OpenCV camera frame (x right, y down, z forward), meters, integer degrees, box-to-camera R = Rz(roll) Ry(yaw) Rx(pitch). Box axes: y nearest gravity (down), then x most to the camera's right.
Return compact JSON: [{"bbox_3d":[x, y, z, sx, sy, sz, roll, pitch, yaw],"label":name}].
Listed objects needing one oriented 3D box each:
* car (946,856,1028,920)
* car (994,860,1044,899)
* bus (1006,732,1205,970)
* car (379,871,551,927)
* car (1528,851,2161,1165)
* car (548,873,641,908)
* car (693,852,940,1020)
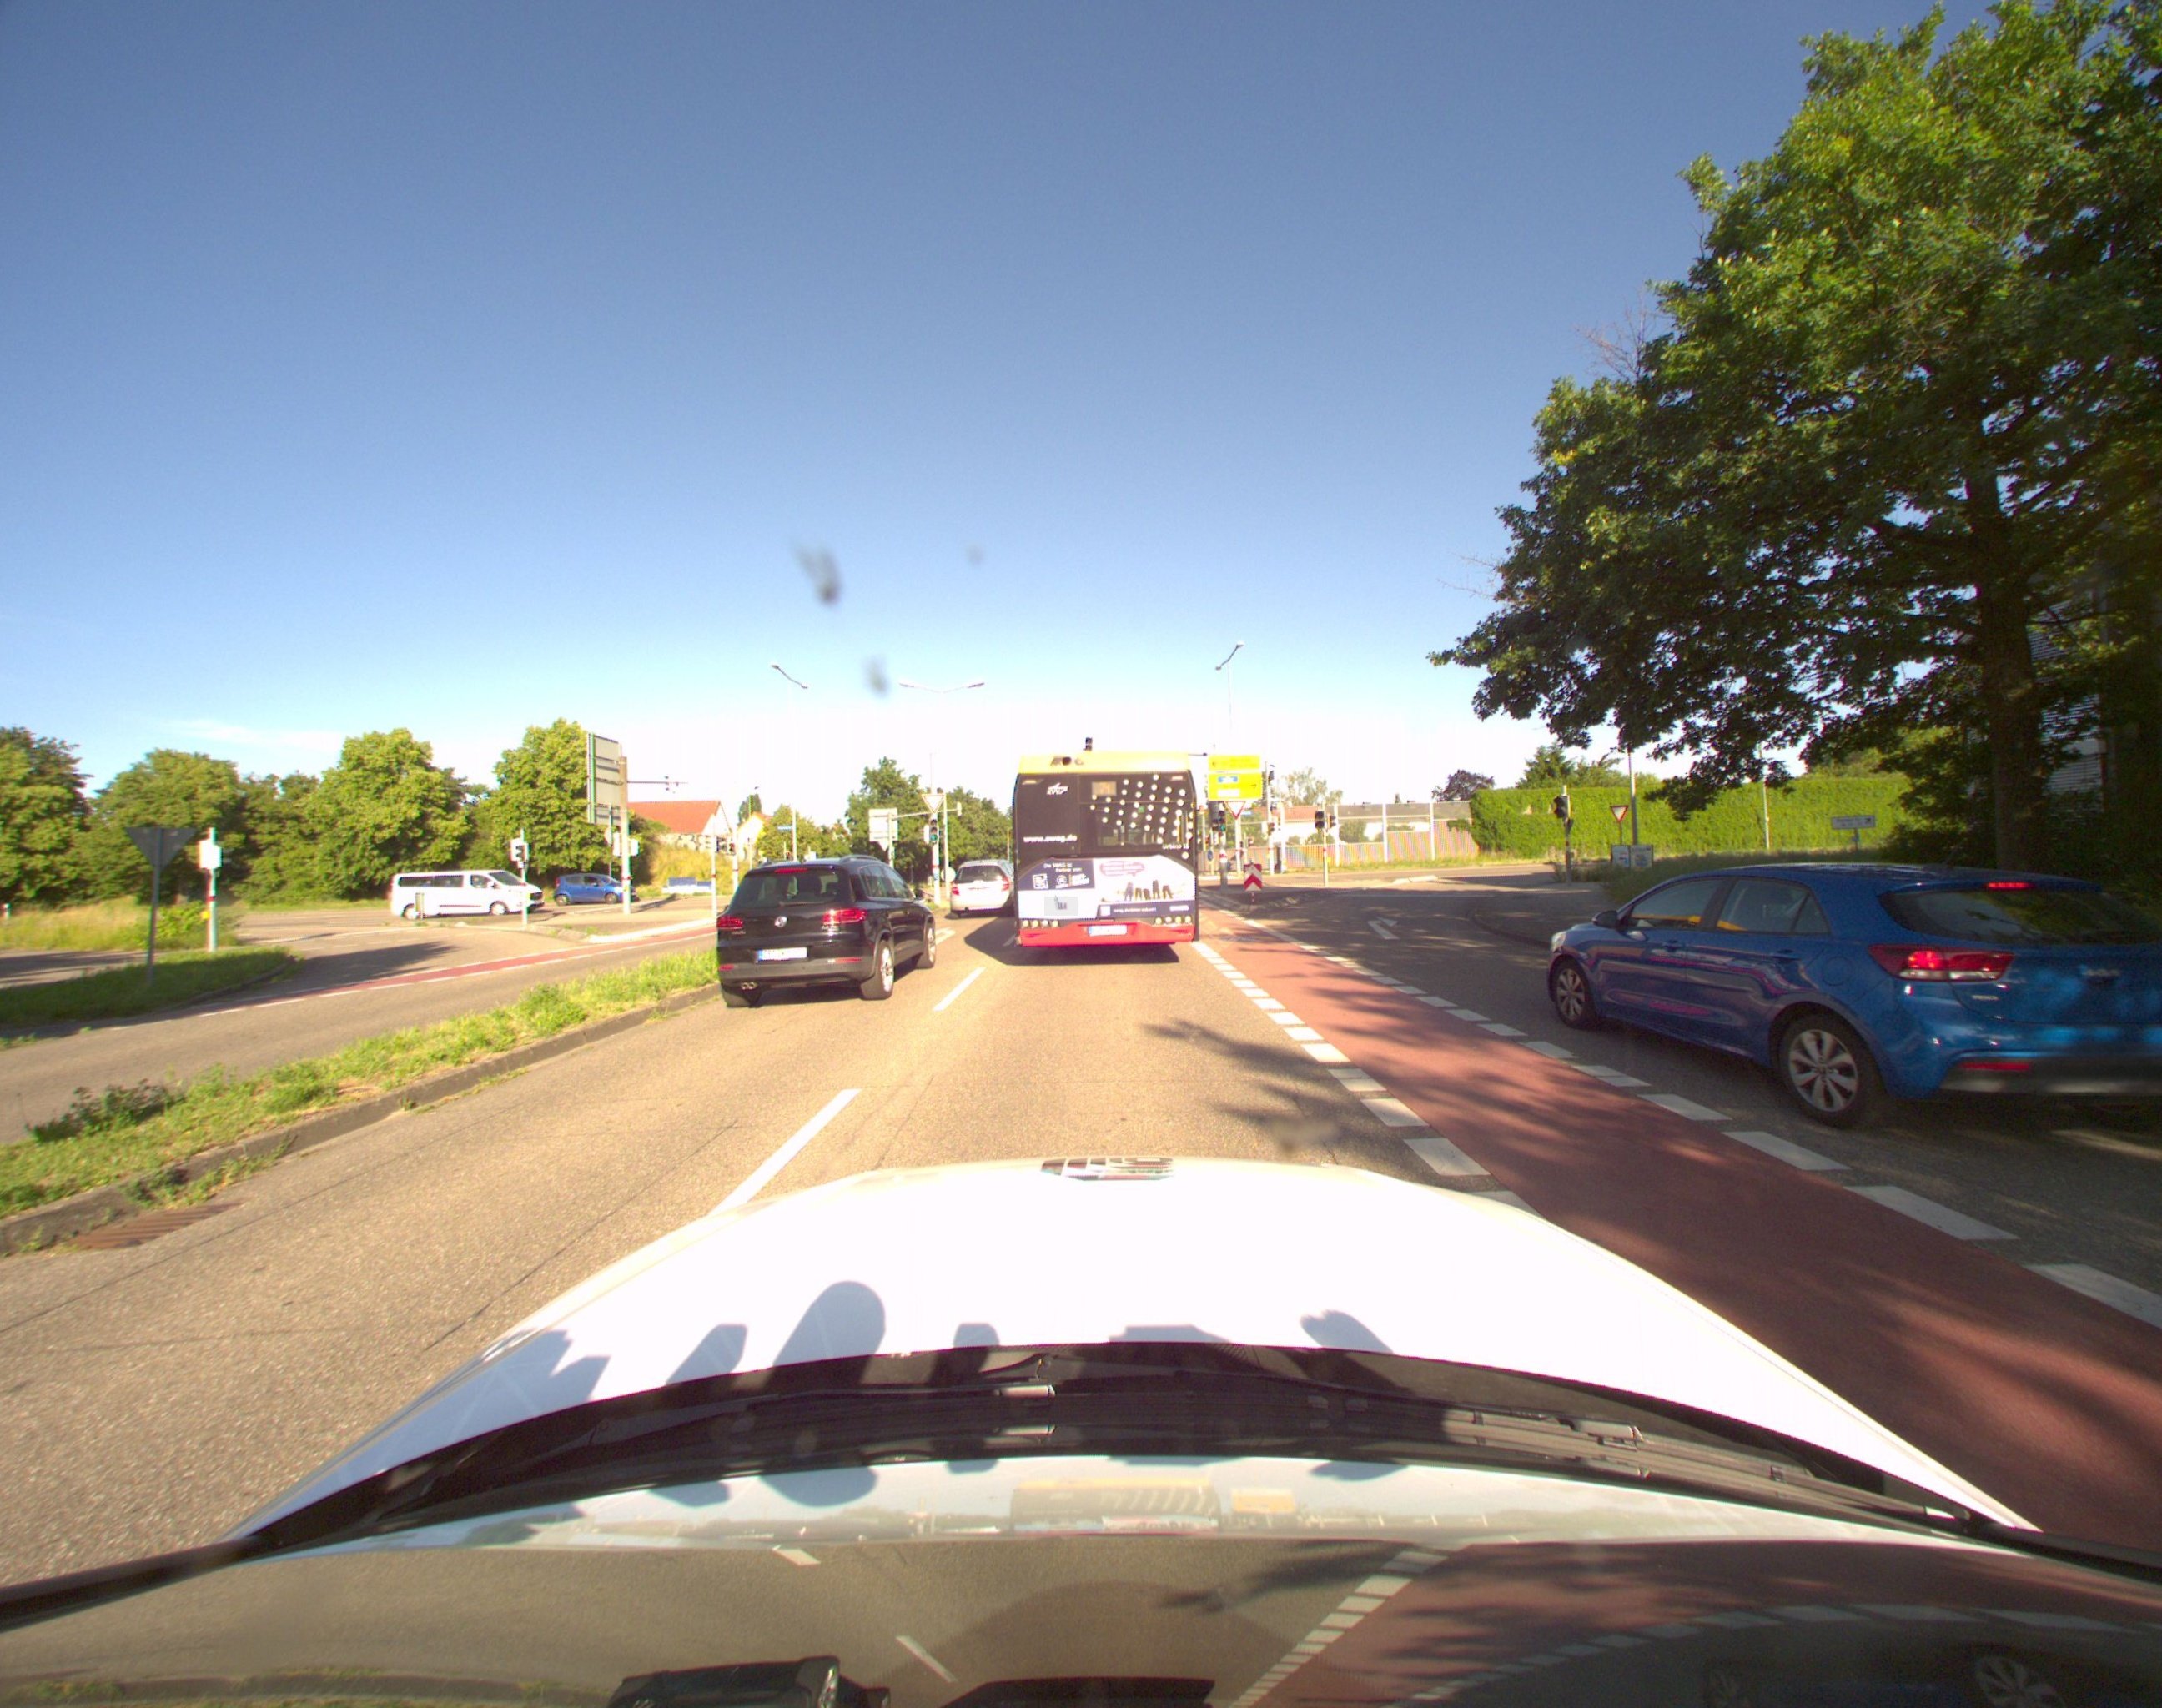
[{"bbox_3d":[-2.627,0.919,23.674,1.755,1.589,4.001,-3,0,1],"label":"car"},{"bbox_3d":[-2.565,1.037,34.609,1.686,1.458,3.751,-3,0,1],"label":"car"},{"bbox_3d":[0.565,-0.034,16.905,2.632,3.167,11.867,-1,0,2],"label":"bus"},{"bbox_3d":[-25.629,1.832,34.049,5.374,2.118,2.178,-1,-1,-4],"label":"car"},{"bbox_3d":[4.996,0.741,5.810,1.642,1.468,3.944,-1,0,4],"label":"car"},{"bbox_3d":[-24.568,1.821,41.221,3.577,1.561,1.747,-2,-1,-5],"label":"car"},{"bbox_3d":[-3.120,0.875,10.537,1.766,1.653,4.000,-3,-1,0],"label":"car"}]
